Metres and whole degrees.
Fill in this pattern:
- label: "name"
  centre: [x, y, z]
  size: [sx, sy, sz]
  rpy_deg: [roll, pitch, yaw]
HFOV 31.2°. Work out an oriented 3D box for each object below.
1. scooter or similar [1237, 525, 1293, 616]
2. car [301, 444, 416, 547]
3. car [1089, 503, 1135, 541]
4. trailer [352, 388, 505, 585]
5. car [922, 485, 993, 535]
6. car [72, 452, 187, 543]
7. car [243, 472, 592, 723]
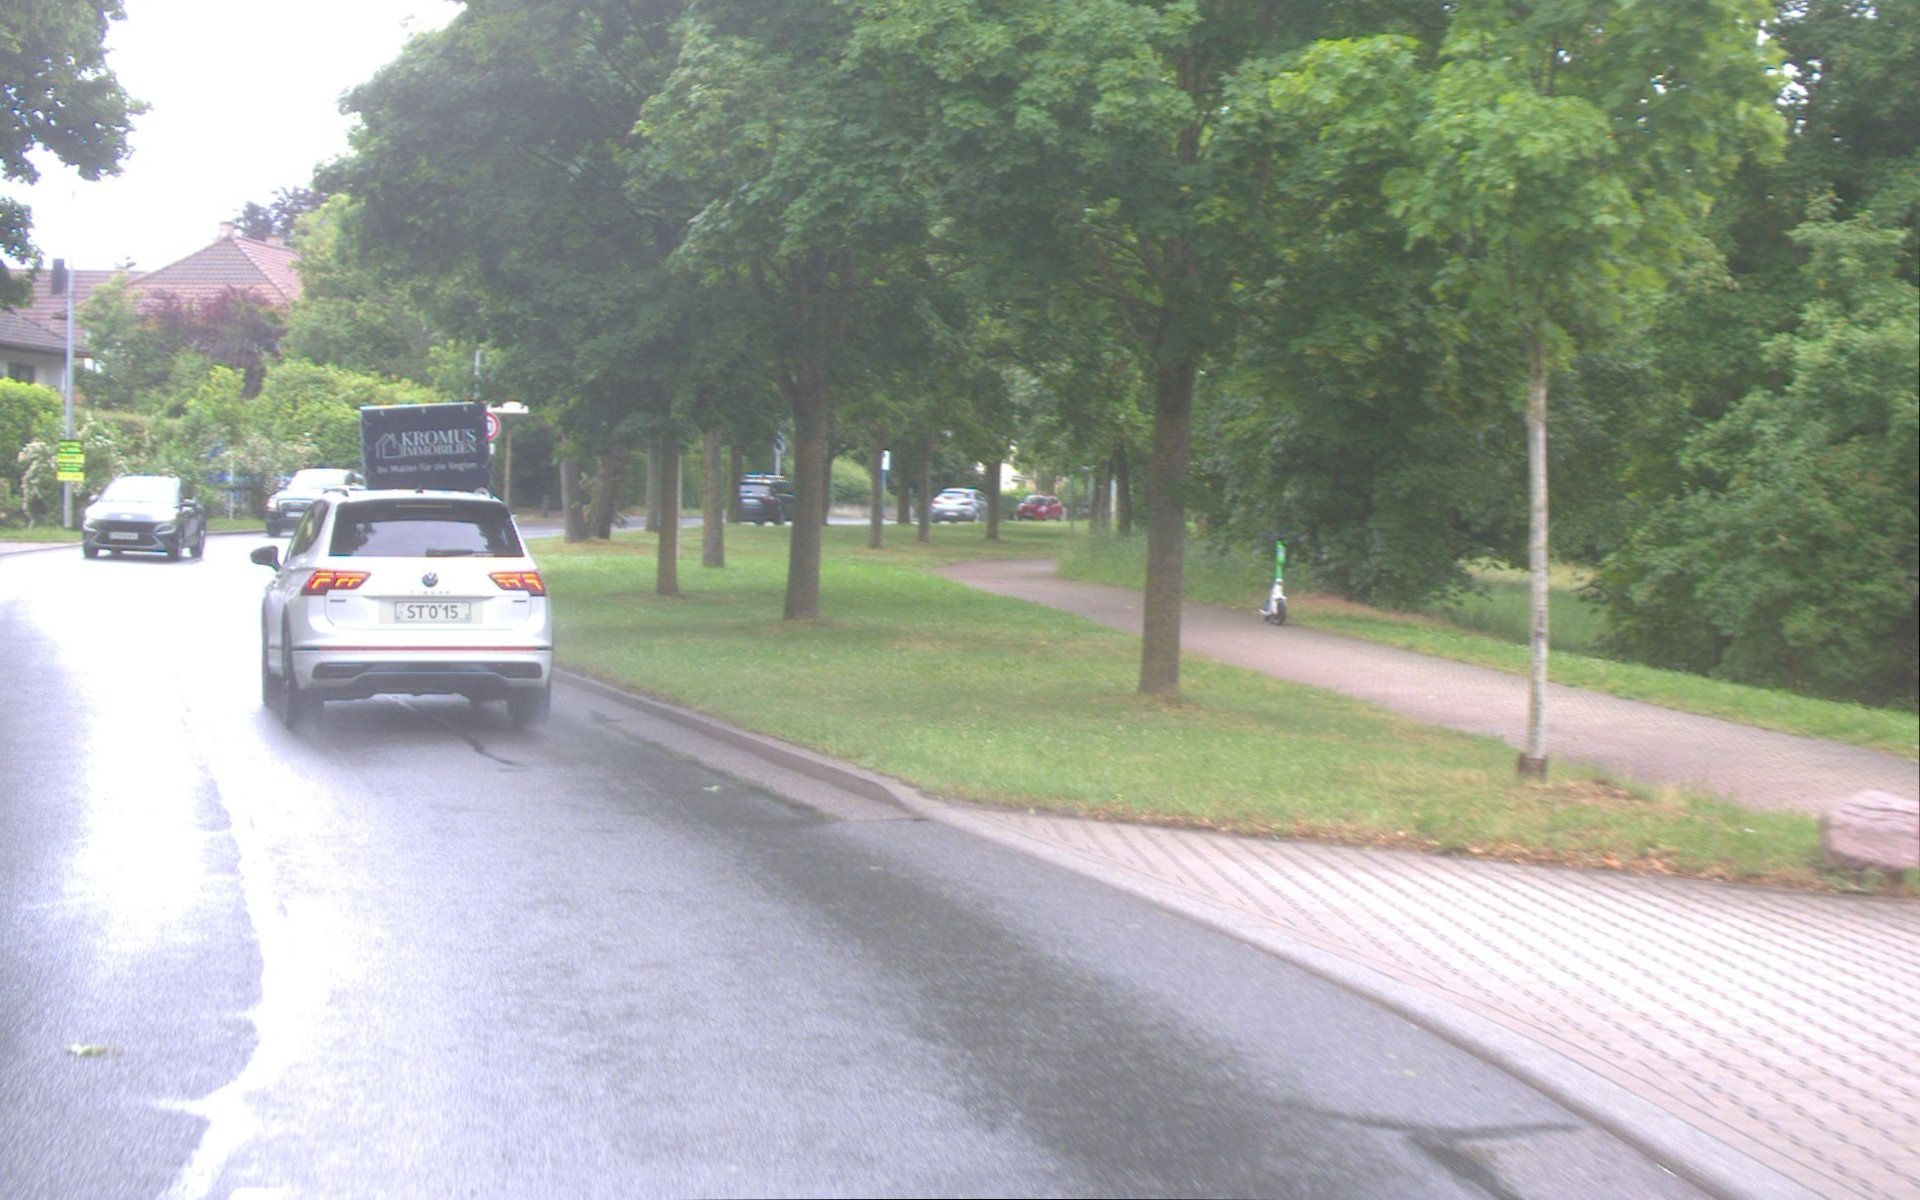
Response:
- label: "scooter or similar"
  centre: [3.935, -0.392, 44.404]
  size: [0.463, 1.142, 1.301]
  rpy_deg: [0, 2, -7]
- label: "car"
  centre: [-12.763, -2.192, 73.126]
  size: [1.901, 2.007, 3.945]
  rpy_deg: [4, 1, -4]
- label: "car"
  centre: [7.870, -4.027, 178.004]
  size: [1.994, 1.801, 3.999]
  rpy_deg: [4, 1, 6]
- label: "trailer"
  centre: [-8.323, -1.788, 53.465]
  size: [1.993, 2.798, 5.610]
  rpy_deg: [-4, 3, -11]
- label: "car"
  centre: [-0.078, -3.545, 135.881]
  size: [1.994, 1.798, 3.998]
  rpy_deg: [4, 1, 10]
- label: "car"
  centre: [-15.905, -1.985, 65.996]
  size: [1.789, 1.532, 4.094]
  rpy_deg: [4, 2, -10]
- label: "car"
  centre: [-4.028, -0.095, 24.964]
  size: [1.973, 1.647, 4.179]
  rpy_deg: [0, 2, -16]
